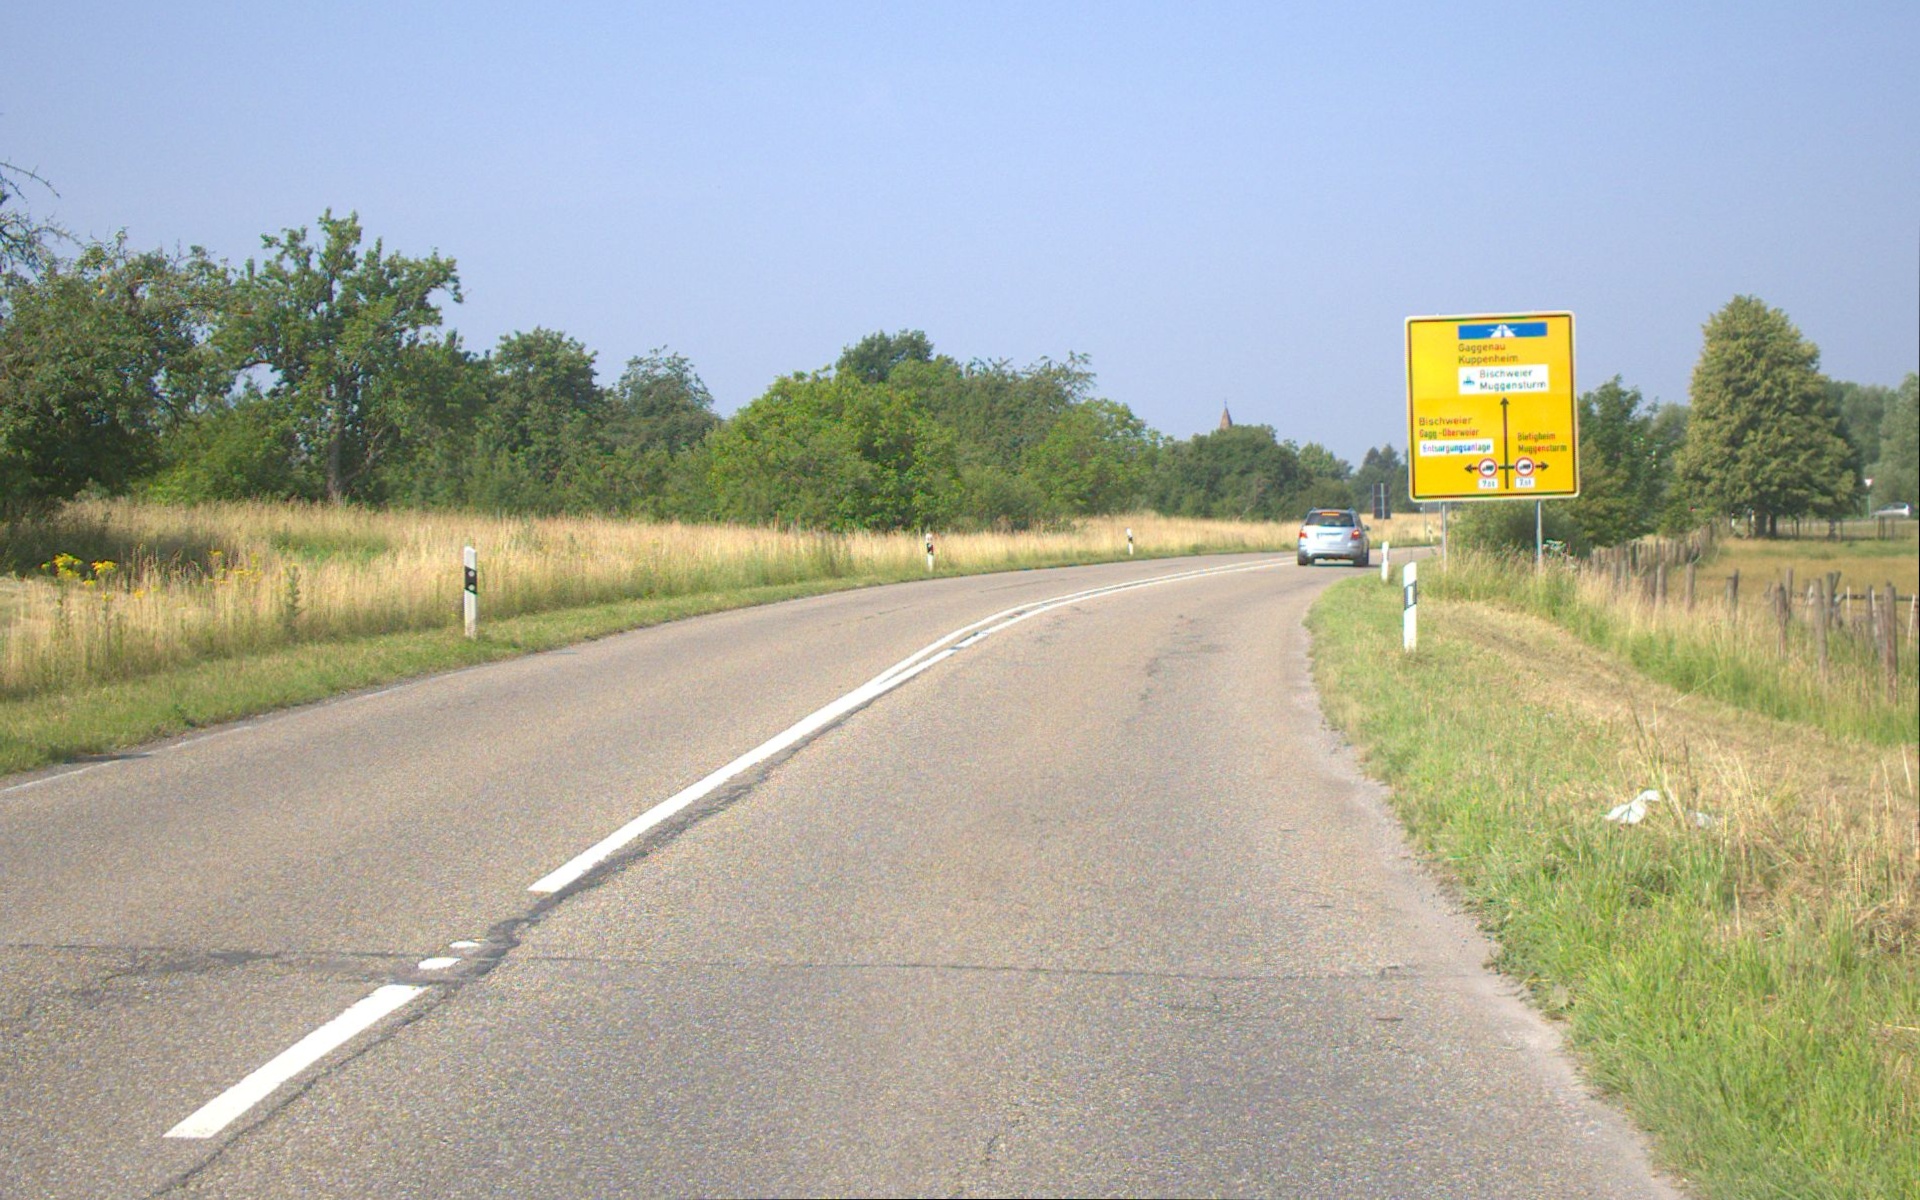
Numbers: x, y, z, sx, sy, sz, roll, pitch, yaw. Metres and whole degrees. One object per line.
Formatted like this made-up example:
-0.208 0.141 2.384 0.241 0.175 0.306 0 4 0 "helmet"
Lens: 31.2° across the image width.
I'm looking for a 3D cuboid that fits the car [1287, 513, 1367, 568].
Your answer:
10.525 -1.709 98.379 1.900 1.506 3.998 2 1 11 "car"
